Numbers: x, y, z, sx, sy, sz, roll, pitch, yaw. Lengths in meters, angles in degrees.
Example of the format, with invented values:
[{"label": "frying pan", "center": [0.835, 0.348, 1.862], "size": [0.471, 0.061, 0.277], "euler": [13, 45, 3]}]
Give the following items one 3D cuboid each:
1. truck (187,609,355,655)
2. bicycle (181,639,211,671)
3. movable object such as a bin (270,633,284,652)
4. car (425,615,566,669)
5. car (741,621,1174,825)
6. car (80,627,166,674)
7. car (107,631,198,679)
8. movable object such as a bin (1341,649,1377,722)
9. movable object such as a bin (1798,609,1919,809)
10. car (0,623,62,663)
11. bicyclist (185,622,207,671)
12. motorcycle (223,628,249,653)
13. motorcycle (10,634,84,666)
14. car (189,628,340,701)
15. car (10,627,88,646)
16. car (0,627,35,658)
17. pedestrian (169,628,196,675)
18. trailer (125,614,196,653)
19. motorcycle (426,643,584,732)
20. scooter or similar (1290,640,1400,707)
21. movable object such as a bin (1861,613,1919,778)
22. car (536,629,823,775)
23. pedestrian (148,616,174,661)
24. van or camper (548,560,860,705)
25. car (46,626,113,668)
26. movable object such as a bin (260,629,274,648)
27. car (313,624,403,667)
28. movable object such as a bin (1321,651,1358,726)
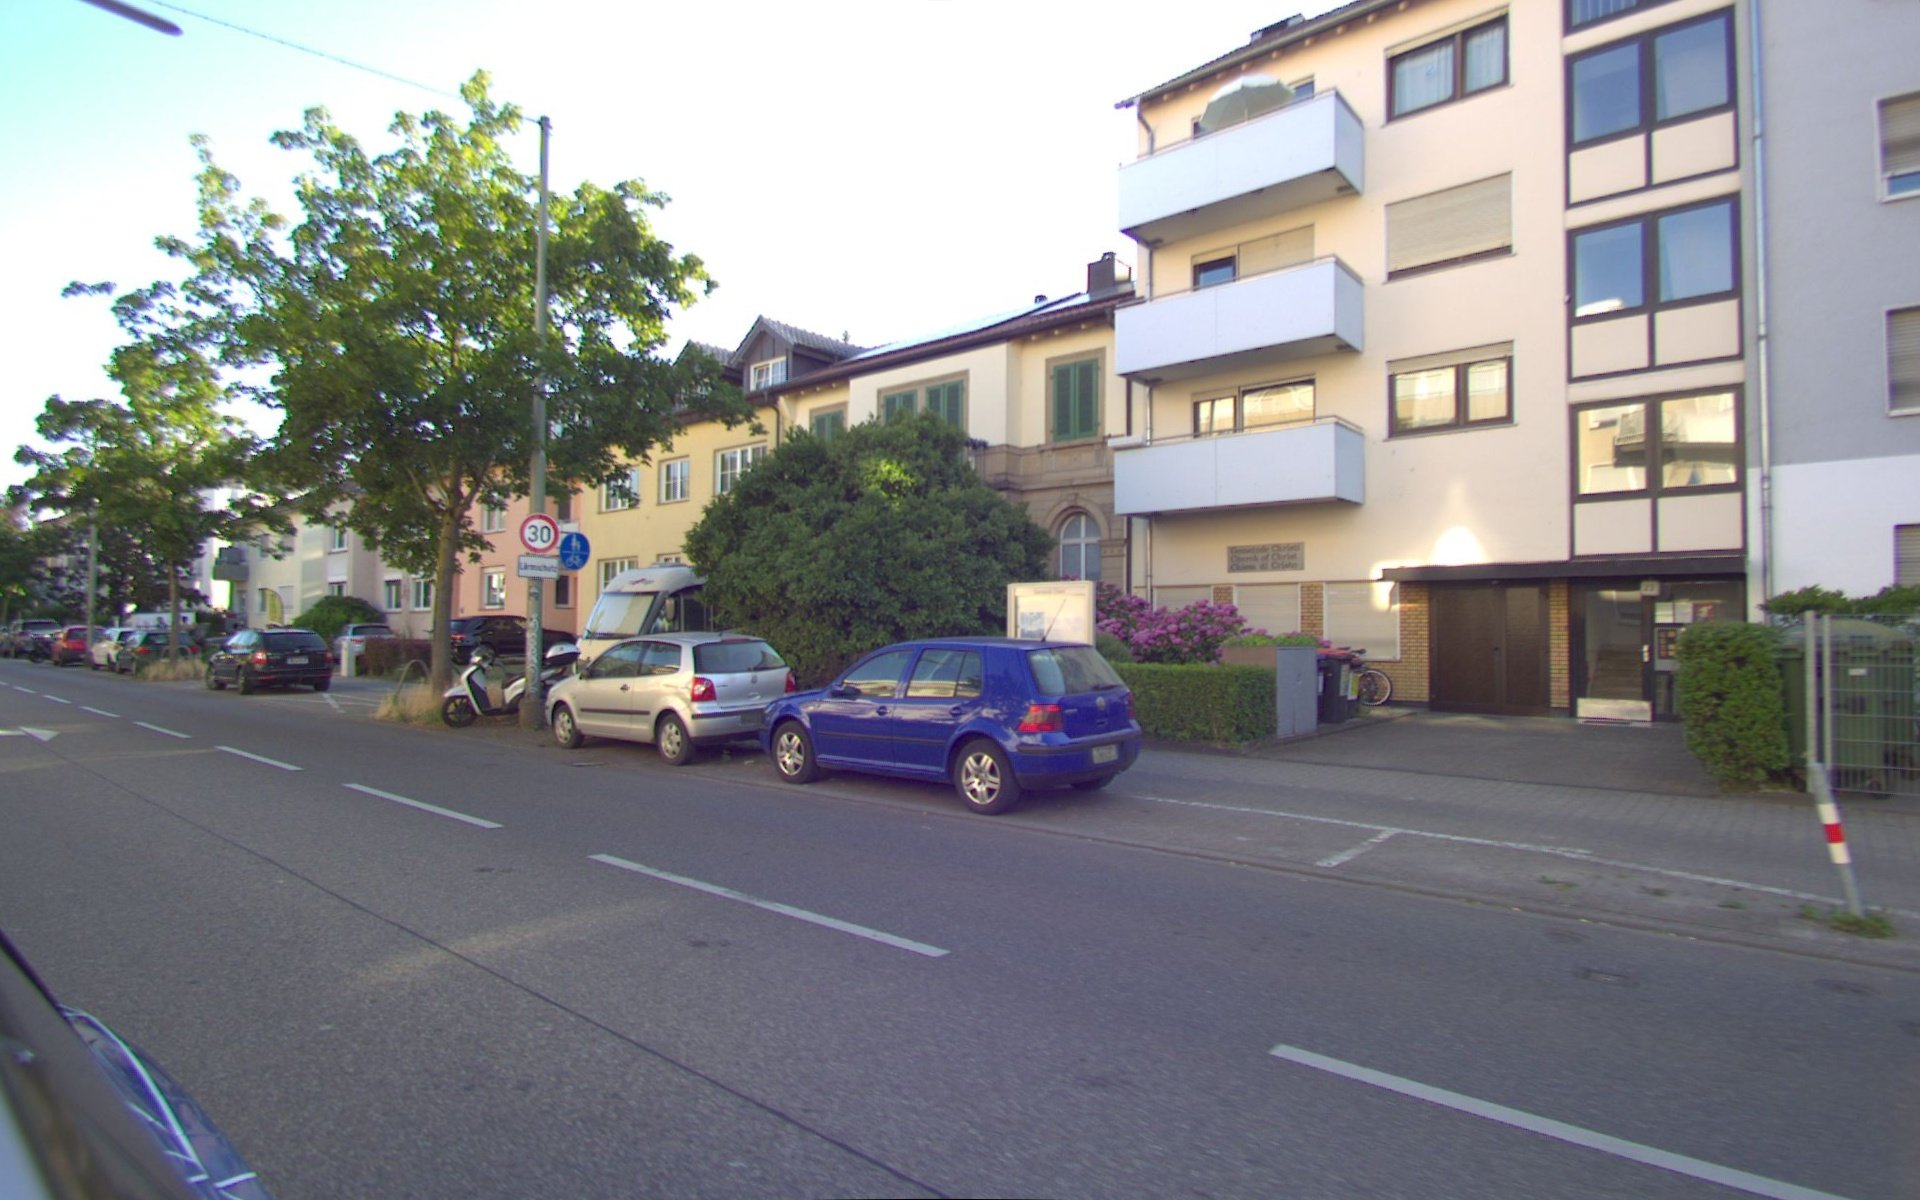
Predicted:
[{"label": "truck", "center": [-35.517, 1.662, 52.423], "size": [2.275, 2.202, 6.824], "euler": [-1, -2, 40]}, {"label": "bicycle", "center": [-26.635, 1.917, 35.284], "size": [1.533, 1.072, 0.481], "euler": [-1, -2, 40]}, {"label": "movable object such as a bin", "center": [-37.011, 2.288, 54.867], "size": [0.449, 1.026, 0.498], "euler": [-1, -3, 40]}, {"label": "car", "center": [-15.692, 1.385, 34.310], "size": [1.865, 1.648, 3.945], "euler": [-1, 0, 41]}, {"label": "car", "center": [-0.176, 0.985, 9.663], "size": [4.071, 1.529, 1.631], "euler": [-1, -1, 41]}, {"label": "car", "center": [-29.009, 1.702, 35.049], "size": [3.887, 1.535, 1.577], "euler": [-1, -2, 39]}, {"label": "car", "center": [-25.222, 1.664, 31.568], "size": [3.663, 1.407, 1.527], "euler": [-1, -2, 40]}, {"label": "movable object such as a bin", "center": [5.879, 1.250, 14.912], "size": [0.390, 1.038, 0.350], "euler": [-2, -3, 39]}, {"label": "movable object such as a bin", "center": [7.278, 0.845, 8.169], "size": [0.741, 1.524, 0.586], "euler": [-2, -3, 42]}, {"label": "car", "center": [-44.306, 2.023, 47.965], "size": [4.721, 1.793, 1.868], "euler": [-1, -2, 39]}, {"label": "bicyclist", "center": [-26.630, 1.610, 35.280], "size": [0.552, 1.676, 0.464], "euler": [-2, -3, 40]}, {"label": "motorcycle", "center": [-40.304, 2.250, 56.298], "size": [2.257, 1.384, 0.564], "euler": [-1, -4, 40]}, {"label": "motorcycle", "center": [-37.001, 2.021, 41.027], "size": [2.349, 1.276, 1.176], "euler": [0, -2, 17]}, {"label": "car", "center": [-16.381, 1.430, 23.756], "size": [4.514, 1.506, 1.848], "euler": [-1, -1, 41]}, {"label": "car", "center": [-75.620, 3.016, 84.035], "size": [1.734, 1.416, 4.517], "euler": [-1, 0, 30]}, {"label": "car", "center": [-48.514, 2.155, 51.647], "size": [2.747, 1.567, 1.557], "euler": [-1, -2, 39]}, {"label": "pedestrian", "center": [-30.339, 2.015, 39.471], "size": [0.572, 1.806, 0.706], "euler": [-2, -3, 43]}, {"label": "trailer", "center": [-43.562, 1.834, 55.168], "size": [1.550, 2.029, 2.746], "euler": [-1, -3, 38]}, {"label": "motorcycle", "center": [-6.802, 1.299, 15.220], "size": [2.021, 1.274, 0.769], "euler": [1, -2, -11]}, {"label": "scooter or similar", "center": [6.664, 1.256, 17.579], "size": [1.766, 1.104, 0.380], "euler": [-1, -3, 40]}, {"label": "movable object such as a bin", "center": [8.443, 0.836, 9.010], "size": [0.575, 1.438, 0.388], "euler": [-2, -3, 39]}, {"label": "car", "center": [-3.573, 1.135, 12.556], "size": [3.801, 1.481, 1.577], "euler": [-1, 0, 41]}, {"label": "pedestrian", "center": [-32.361, 1.540, 40.973], "size": [0.506, 1.806, 0.706], "euler": [-2, -3, 43]}, {"label": "van or camper", "center": [-5.487, 0.595, 22.841], "size": [2.350, 2.793, 6.730], "euler": [-1, 0, 39]}, {"label": "car", "center": [-33.552, 1.759, 38.535], "size": [3.436, 1.535, 1.575], "euler": [-2, -3, 43]}, {"label": "movable object such as a bin", "center": [-38.105, 2.122, 55.618], "size": [0.449, 1.026, 0.498], "euler": [-1, -3, 40]}, {"label": "car", "center": [-20.984, 1.571, 35.235], "size": [3.752, 1.420, 1.647], "euler": [-2, -3, 42]}, {"label": "movable object such as a bin", "center": [5.359, 1.238, 14.288], "size": [0.378, 1.038, 0.349], "euler": [-2, -3, 43]}]
